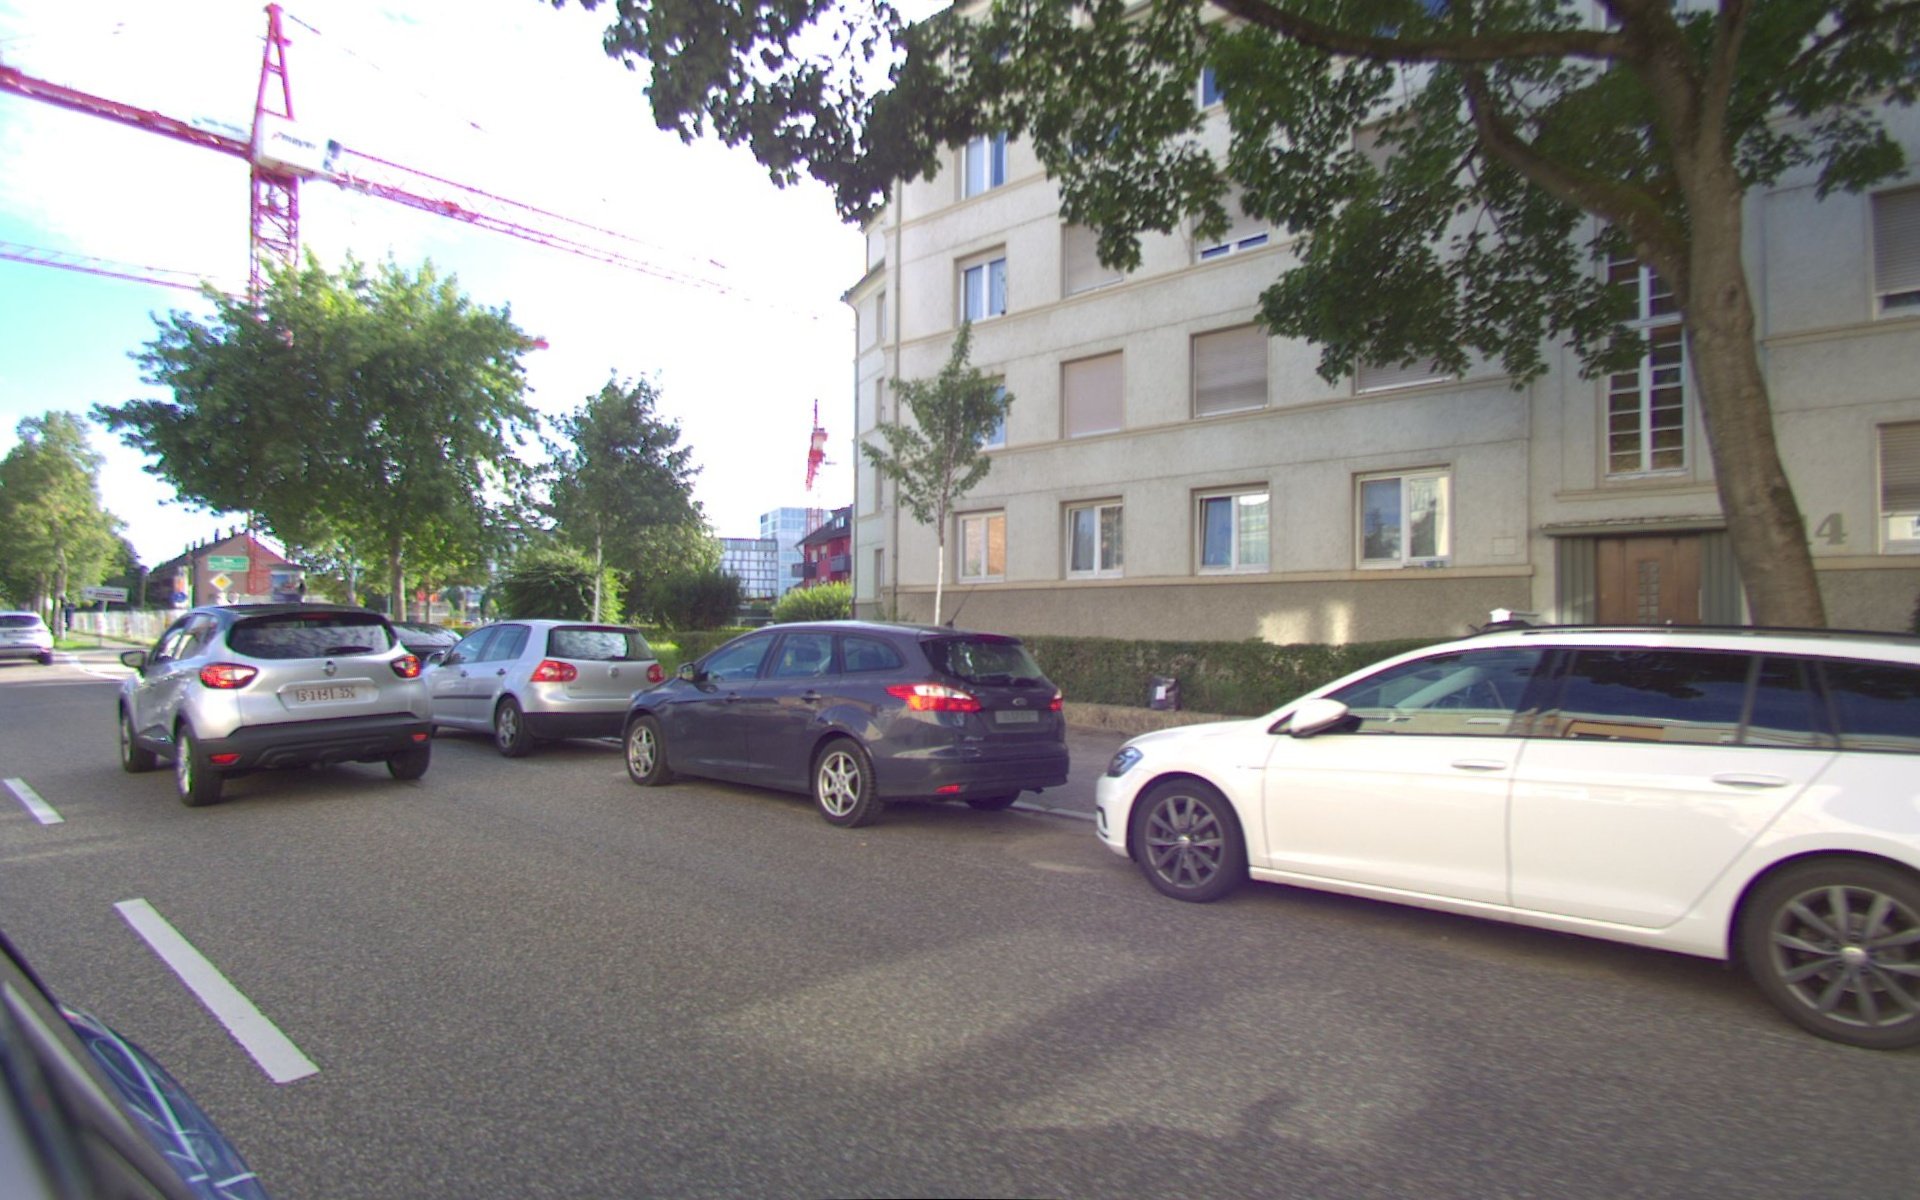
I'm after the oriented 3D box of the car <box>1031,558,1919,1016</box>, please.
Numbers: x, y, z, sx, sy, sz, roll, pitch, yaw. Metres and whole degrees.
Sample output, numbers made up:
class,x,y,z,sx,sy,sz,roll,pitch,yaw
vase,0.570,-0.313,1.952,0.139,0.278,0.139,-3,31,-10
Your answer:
class,x,y,z,sx,sy,sz,roll,pitch,yaw
car,2.811,0.708,4.887,4.797,1.497,1.835,-2,-6,42

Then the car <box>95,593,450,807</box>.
class,x,y,z,sx,sy,sz,roll,pitch,yaw
car,-6.322,0.744,9.136,4.008,1.513,1.722,-1,-1,41

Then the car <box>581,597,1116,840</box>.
class,x,y,z,sx,sy,sz,roll,pitch,yaw
car,-1.168,0.798,8.516,4.682,1.497,1.835,-2,-3,42

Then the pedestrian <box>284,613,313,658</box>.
class,x,y,z,sx,sy,sz,roll,pitch,yaw
pedestrian,-26.332,1.405,40.311,0.775,1.782,0.734,-2,-3,41

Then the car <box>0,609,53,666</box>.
class,x,y,z,sx,sy,sz,roll,pitch,yaw
car,-29.741,1.143,31.527,4.084,1.682,1.810,-1,-1,42

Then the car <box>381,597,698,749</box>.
class,x,y,z,sx,sy,sz,roll,pitch,yaw
car,-5.162,0.811,12.132,4.368,1.497,1.800,-2,-4,42
